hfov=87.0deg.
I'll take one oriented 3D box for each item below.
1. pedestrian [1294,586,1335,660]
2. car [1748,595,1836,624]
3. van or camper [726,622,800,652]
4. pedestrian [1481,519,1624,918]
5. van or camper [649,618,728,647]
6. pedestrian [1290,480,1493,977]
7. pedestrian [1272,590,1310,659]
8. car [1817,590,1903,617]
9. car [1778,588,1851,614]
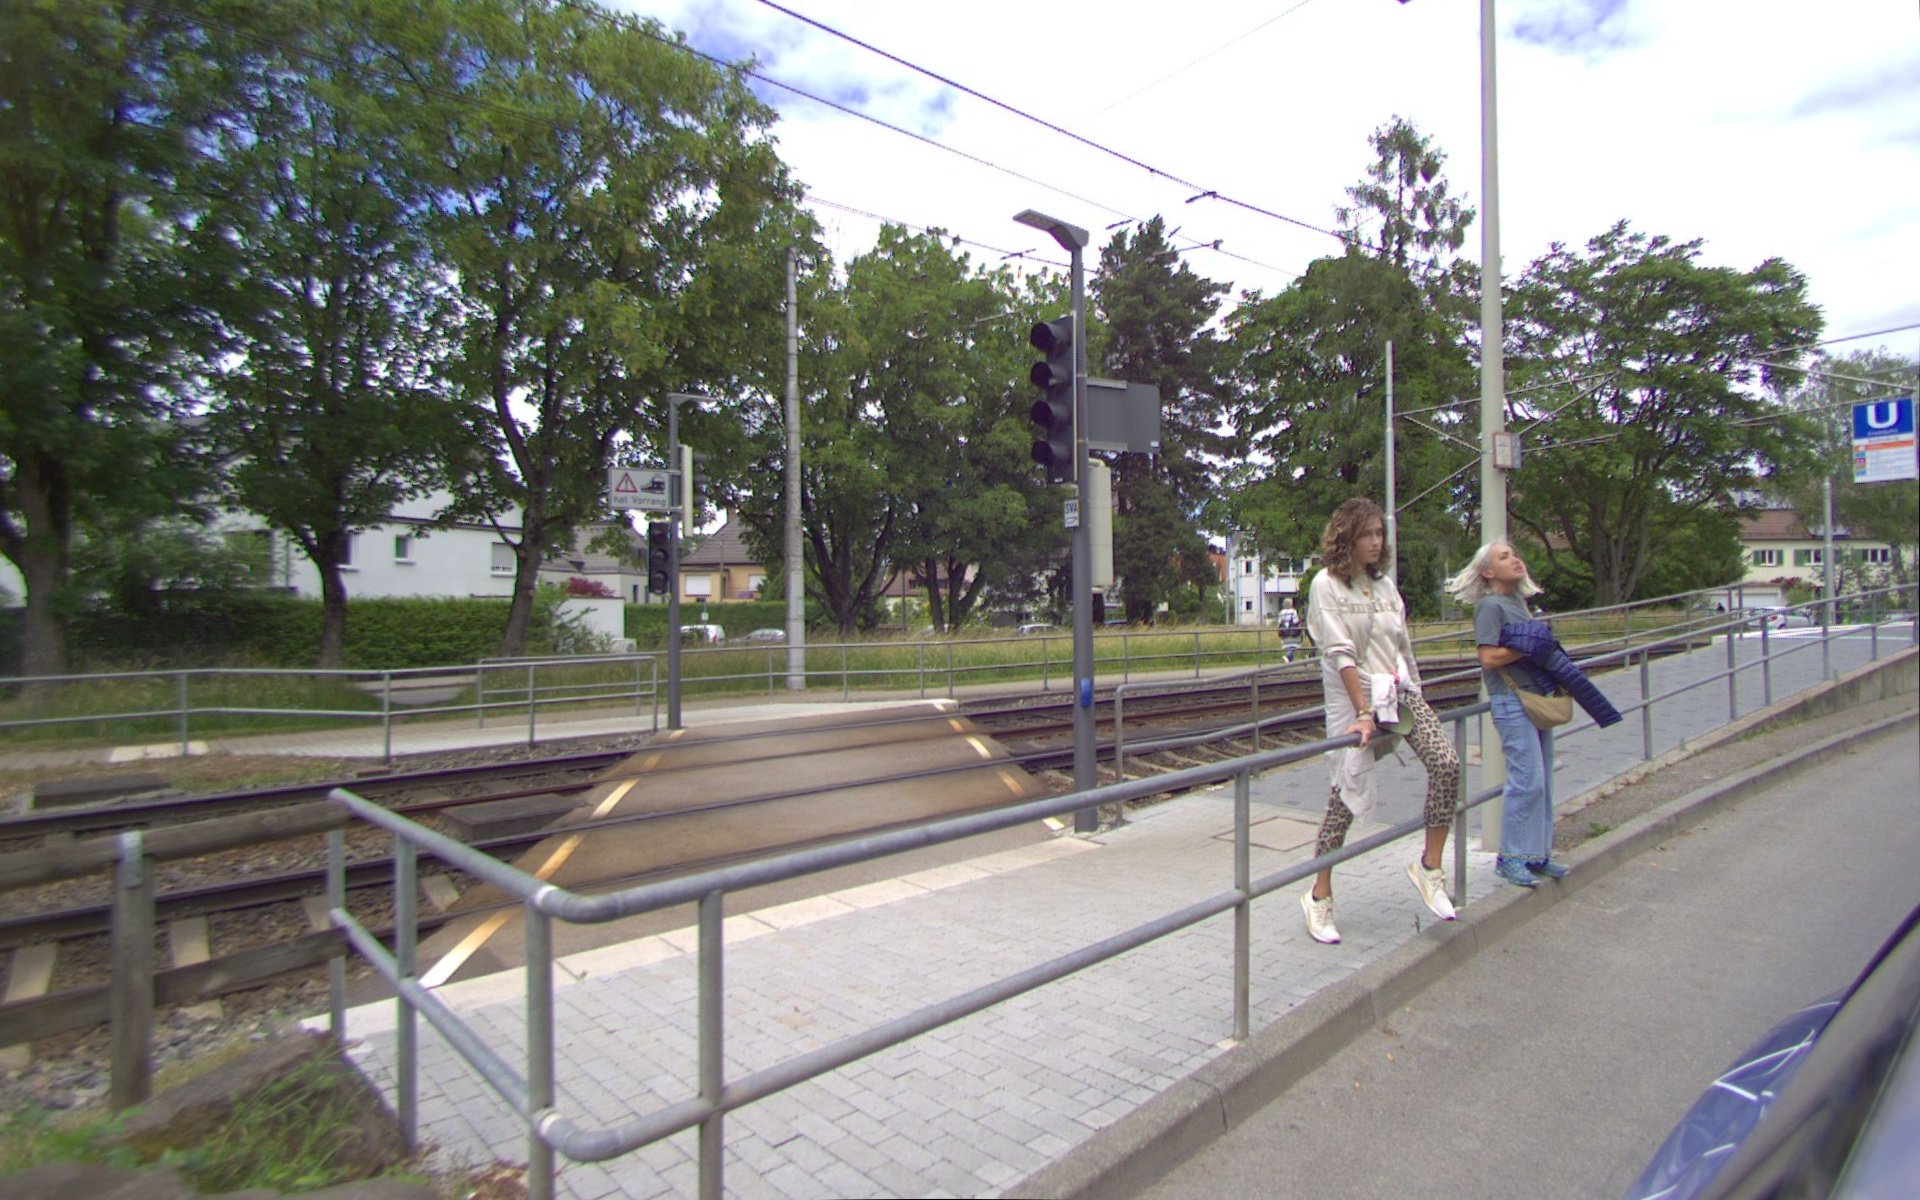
[{"bbox_3d":[8.046,0.512,22.964,0.776,1.643,0.494,-1,-1,-37],"label":"pedestrian"},{"bbox_3d":[42.222,0.471,51.361,3.918,1.366,2.003,-1,-1,-26],"label":"car"},{"bbox_3d":[-12.003,2.245,61.757,3.991,1.672,1.995,-1,-1,8],"label":"van or camper"},{"bbox_3d":[2.824,0.509,4.882,0.470,1.750,0.793,-2,1,26],"label":"pedestrian"},{"bbox_3d":[-16.747,2.012,62.543,4.255,1.672,1.996,-1,-1,6],"label":"van or camper"},{"bbox_3d":[1.796,0.479,4.199,0.654,1.863,0.591,-2,1,27],"label":"pedestrian"},{"bbox_3d":[7.677,0.561,23.460,0.680,1.581,0.494,-1,-1,-37],"label":"pedestrian"},{"bbox_3d":[47.162,0.183,53.028,3.918,1.366,2.003,-1,-1,-26],"label":"car"},{"bbox_3d":[63.863,0.090,75.651,4.147,1.886,2.003,-1,-1,-12],"label":"car"}]
